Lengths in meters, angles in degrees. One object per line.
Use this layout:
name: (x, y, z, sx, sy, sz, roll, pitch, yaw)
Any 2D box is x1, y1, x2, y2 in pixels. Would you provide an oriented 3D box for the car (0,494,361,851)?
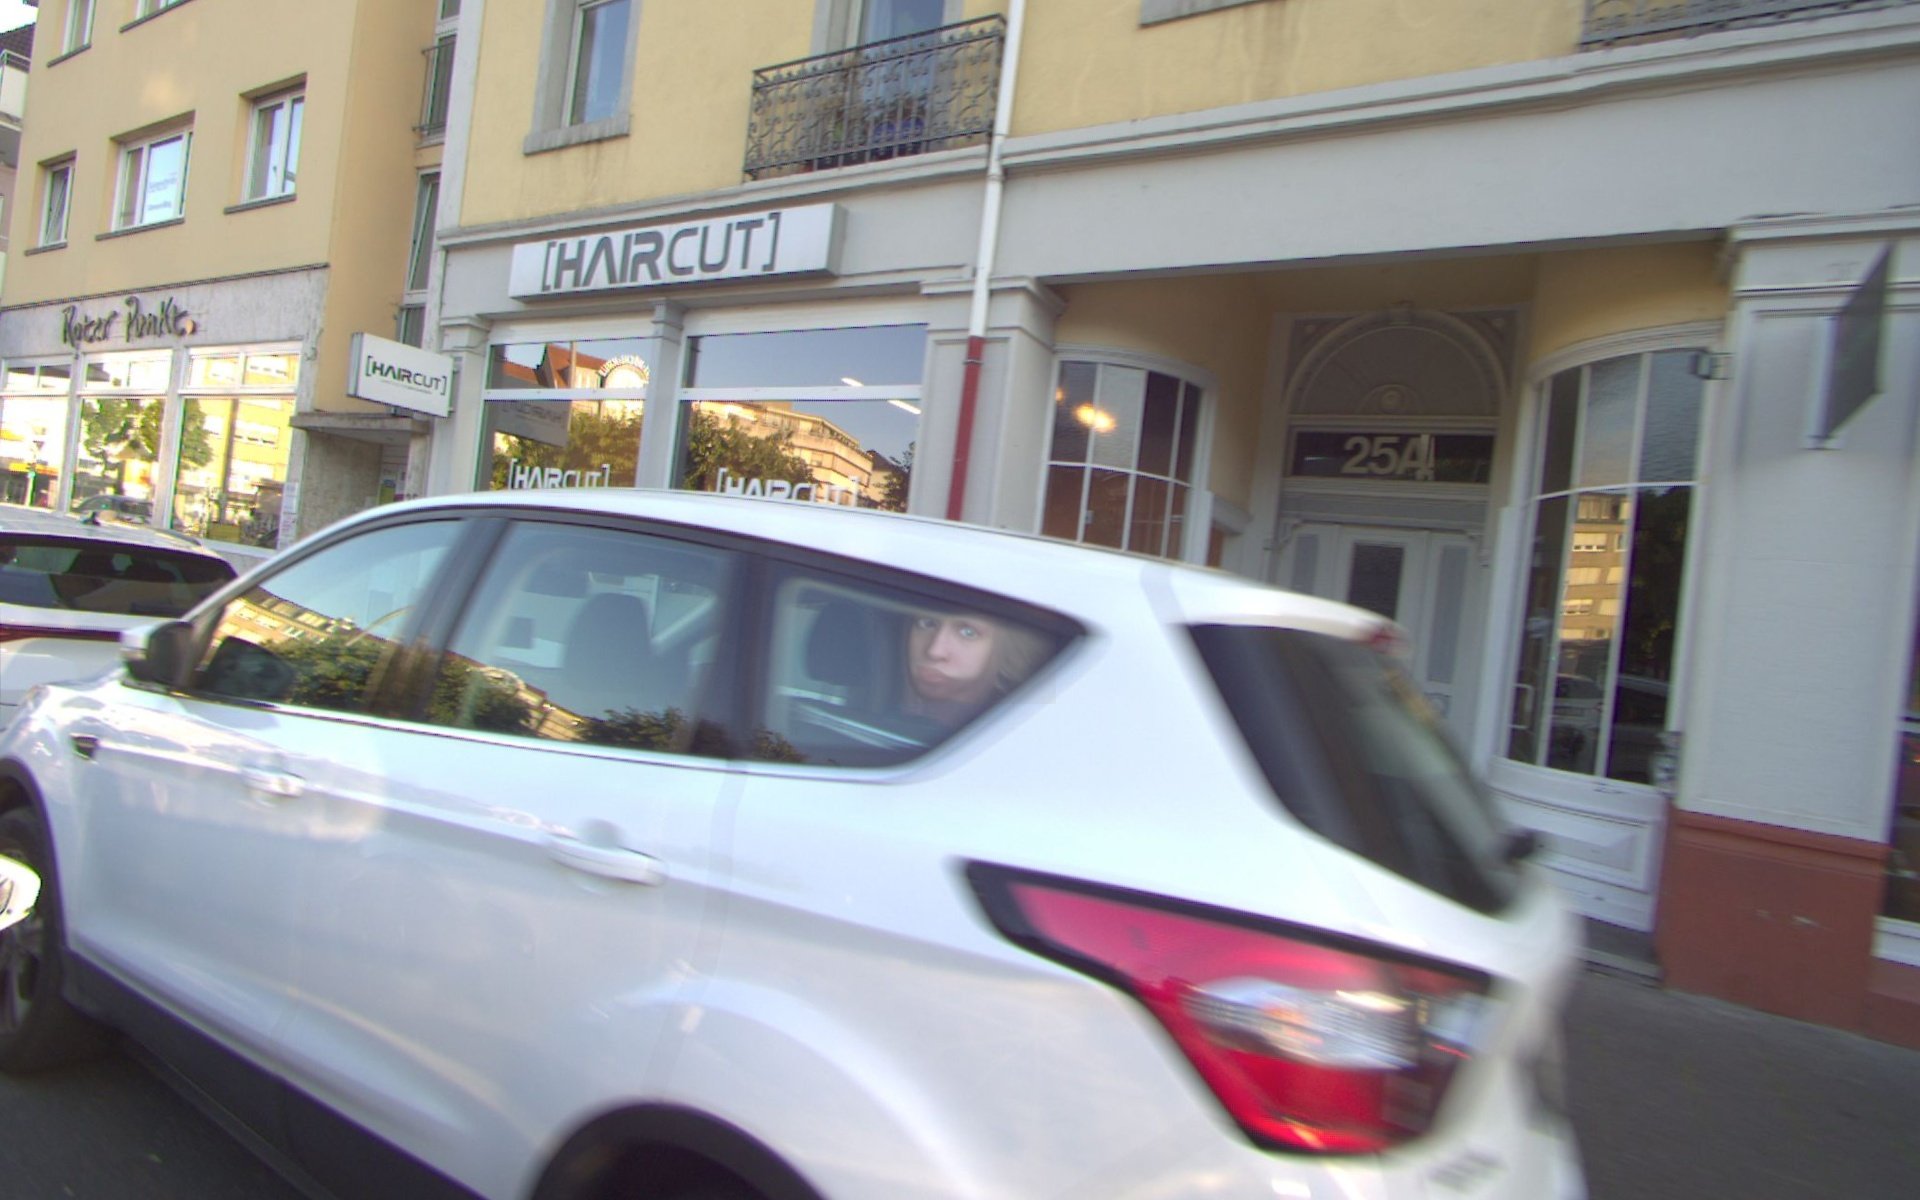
car: (-5.471, 0.166, 5.686, 4.241, 1.467, 1.733, 6, -3, 33)

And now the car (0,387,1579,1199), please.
car: (-0.962, 0.559, 2.628, 4.213, 1.669, 1.734, 6, -2, 32)

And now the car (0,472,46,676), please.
car: (-9.894, -0.464, 8.770, 3.765, 1.670, 1.734, 6, -2, 32)
